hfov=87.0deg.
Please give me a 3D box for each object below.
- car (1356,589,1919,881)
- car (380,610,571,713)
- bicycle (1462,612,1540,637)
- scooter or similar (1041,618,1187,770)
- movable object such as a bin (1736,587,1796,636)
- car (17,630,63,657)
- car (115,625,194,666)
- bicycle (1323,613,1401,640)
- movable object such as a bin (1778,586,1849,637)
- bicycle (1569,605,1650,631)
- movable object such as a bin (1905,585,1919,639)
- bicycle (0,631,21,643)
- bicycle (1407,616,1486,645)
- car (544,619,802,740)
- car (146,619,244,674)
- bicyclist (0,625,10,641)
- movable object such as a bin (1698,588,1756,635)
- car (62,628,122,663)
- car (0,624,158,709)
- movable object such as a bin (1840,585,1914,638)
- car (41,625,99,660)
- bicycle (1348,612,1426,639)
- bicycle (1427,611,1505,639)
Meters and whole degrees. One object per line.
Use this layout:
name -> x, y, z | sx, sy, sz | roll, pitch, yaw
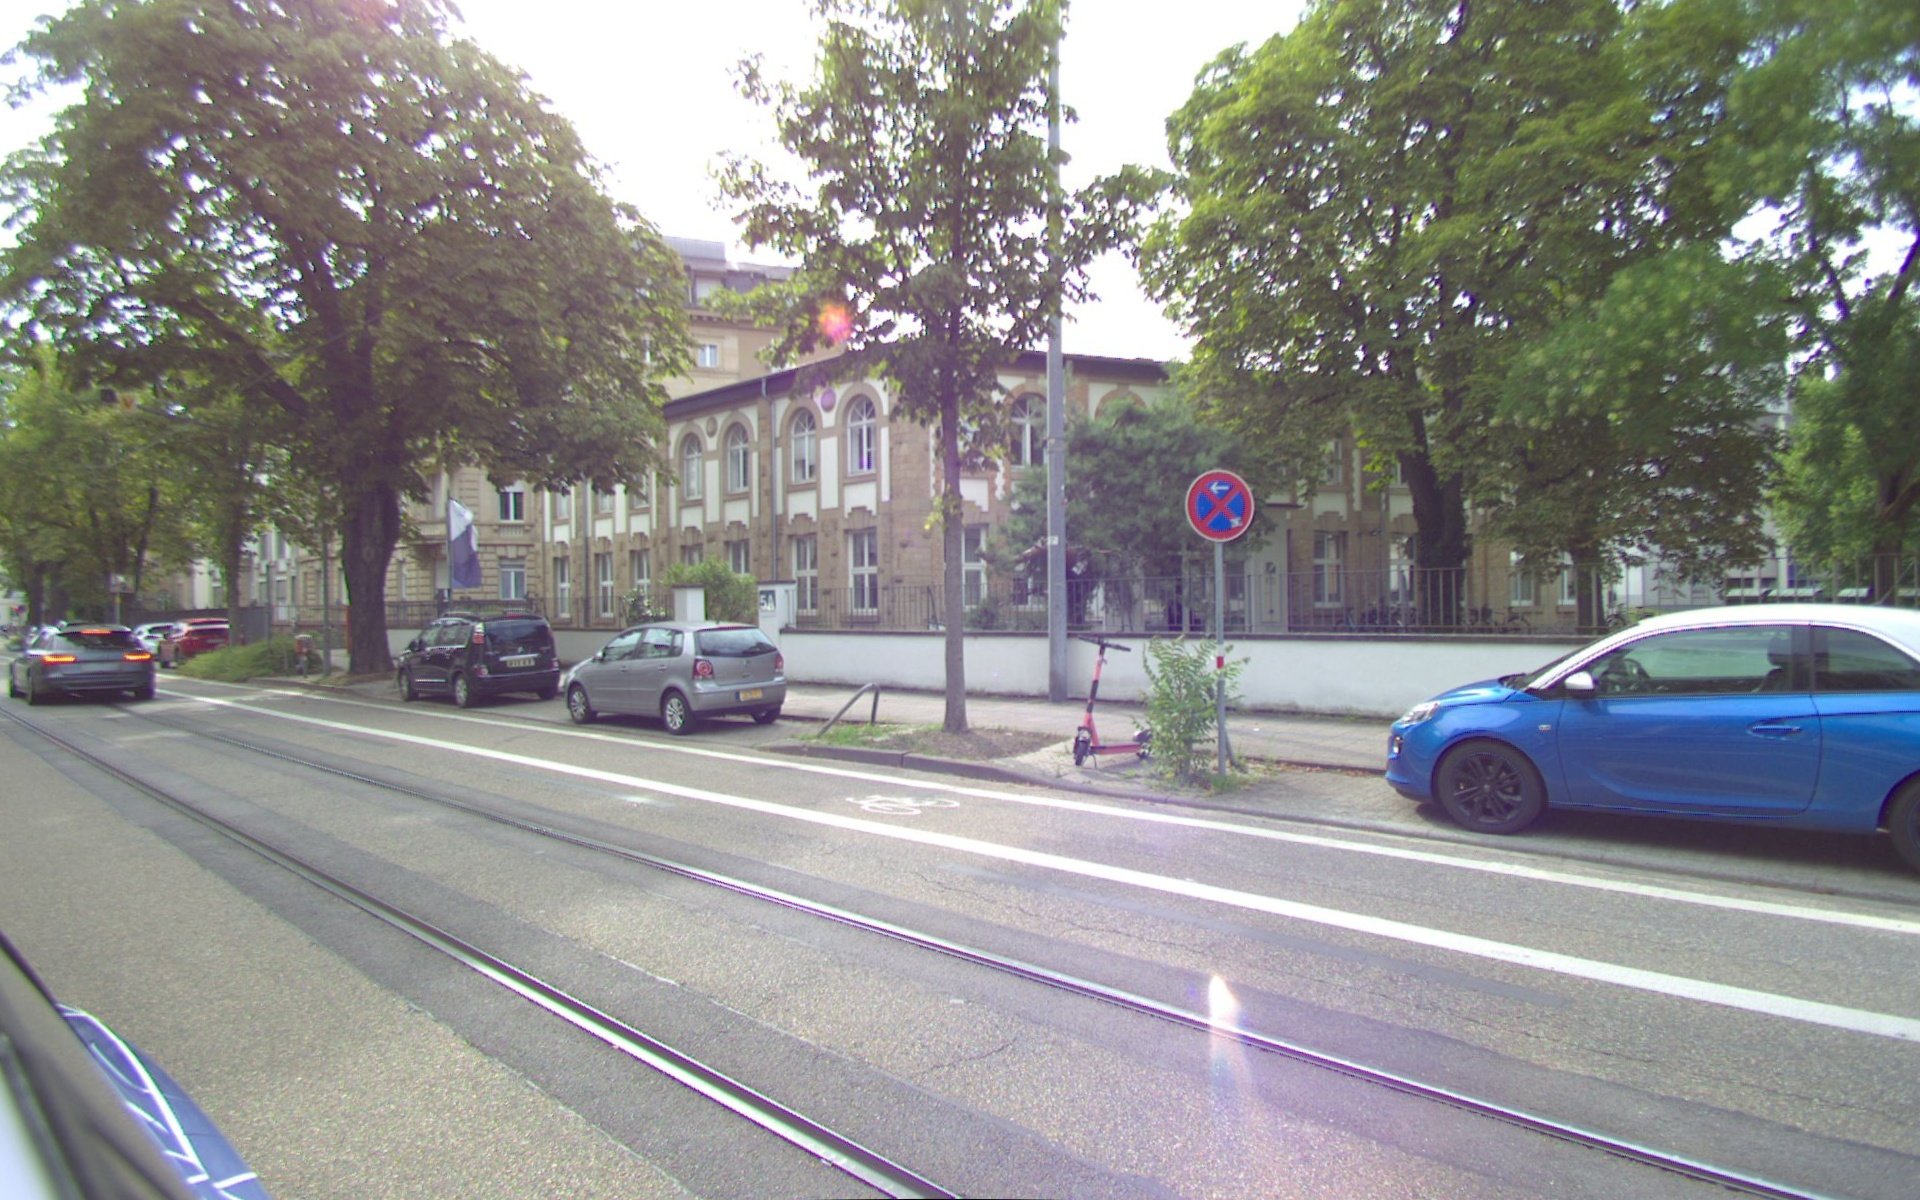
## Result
car -> 4.743, 0.717, 6.573 | 3.675, 1.498, 1.675 | -2, 0, 41
car -> -9.062, 1.072, 18.802 | 4.050, 1.659, 1.737 | -2, 0, 41
bicycle -> 16.581, 0.755, 31.060 | 2.042, 0.713, 0.706 | -2, 0, 35
scooter or similar -> 1.509, 0.860, 9.800 | 0.700, 1.354, 1.427 | -2, -2, 43
movable object such as a bin -> 23.834, 0.342, 29.930 | 0.954, 1.385, 1.024 | -2, 0, -22
car -> -54.497, 2.525, 59.915 | 4.166, 1.435, 1.701 | -2, 1, 44
car -> -32.141, 1.778, 40.353 | 4.021, 1.434, 1.704 | -2, 1, 41
bicycle -> 11.302, 0.746, 28.537 | 0.702, 0.713, 2.053 | -2, 0, -28
movable object such as a bin -> 24.241, 0.329, 28.747 | 0.954, 1.385, 1.208 | -2, 0, -22
bicycle -> 20.601, 0.568, 32.152 | 0.702, 0.779, 2.053 | -2, 0, -28
movable object such as a bin -> 25.258, 0.295, 26.021 | 0.846, 1.385, 1.097 | -2, 0, -22
bicycle -> -87.206, 3.373, 92.352 | 0.615, 1.033, 2.168 | -2, -1, 45
bicycle -> 14.256, 0.877, 29.698 | 0.702, 0.779, 2.053 | -2, 0, -28
car -> -4.157, 1.028, 14.372 | 3.866, 1.438, 1.675 | -2, 0, 41
car -> -25.927, 1.526, 34.234 | 4.540, 1.667, 1.704 | -2, 1, 41
bicyclist -> -87.237, 3.024, 92.360 | 0.615, 1.375, 0.763 | -2, -1, 45
movable object such as a bin -> 23.447, 0.355, 30.953 | 0.954, 1.385, 1.024 | -2, 0, -22
car -> -40.219, 2.080, 46.854 | 4.077, 1.479, 1.584 | -2, -1, 42
car -> -17.469, 1.232, 19.957 | 4.551, 1.459, 1.815 | -2, -1, 41
movable object such as a bin -> 24.831, 0.309, 27.413 | 0.846, 1.385, 1.208 | -2, 0, -22
car -> -45.724, 2.151, 51.965 | 4.355, 1.686, 1.692 | -2, -1, 42
bicycle -> 12.172, 0.719, 28.895 | 0.702, 0.713, 2.053 | -2, 0, -28
bicycle -> 15.063, 0.737, 30.188 | 0.702, 0.779, 2.053 | -2, 0, -28
